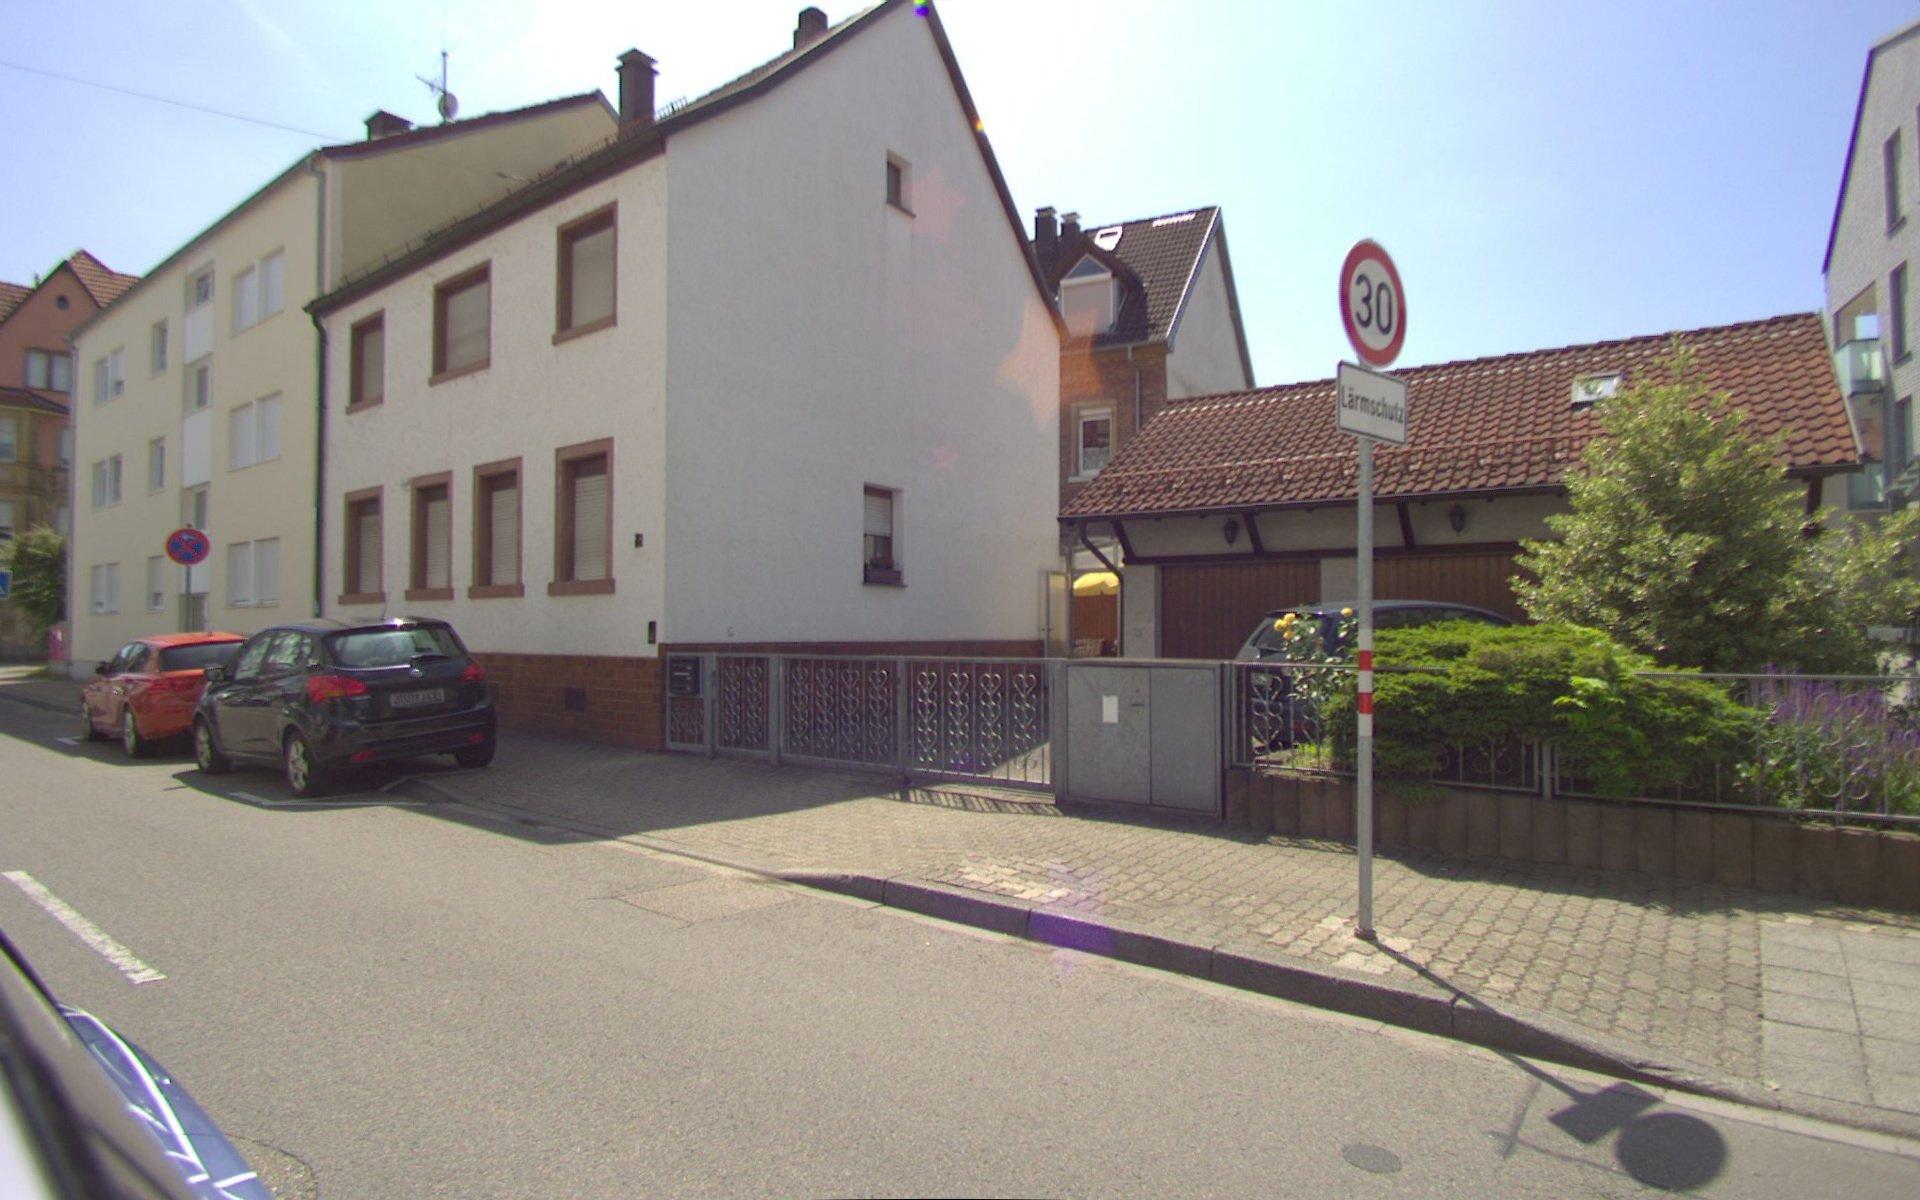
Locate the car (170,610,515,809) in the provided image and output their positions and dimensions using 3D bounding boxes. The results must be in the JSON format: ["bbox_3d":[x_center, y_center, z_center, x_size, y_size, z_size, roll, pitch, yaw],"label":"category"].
[{"bbox_3d":[-6.473,0.972,10.467,3.939,1.659,1.777,-2,-1,38],"label":"car"}]

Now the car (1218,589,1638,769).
[{"bbox_3d":[4.651,0.722,10.298,3.507,1.551,1.642,-2,0,-9],"label":"car"}]

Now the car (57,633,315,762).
[{"bbox_3d":[-10.395,1.164,13.488,4.285,1.427,1.815,-2,-2,40],"label":"car"}]
